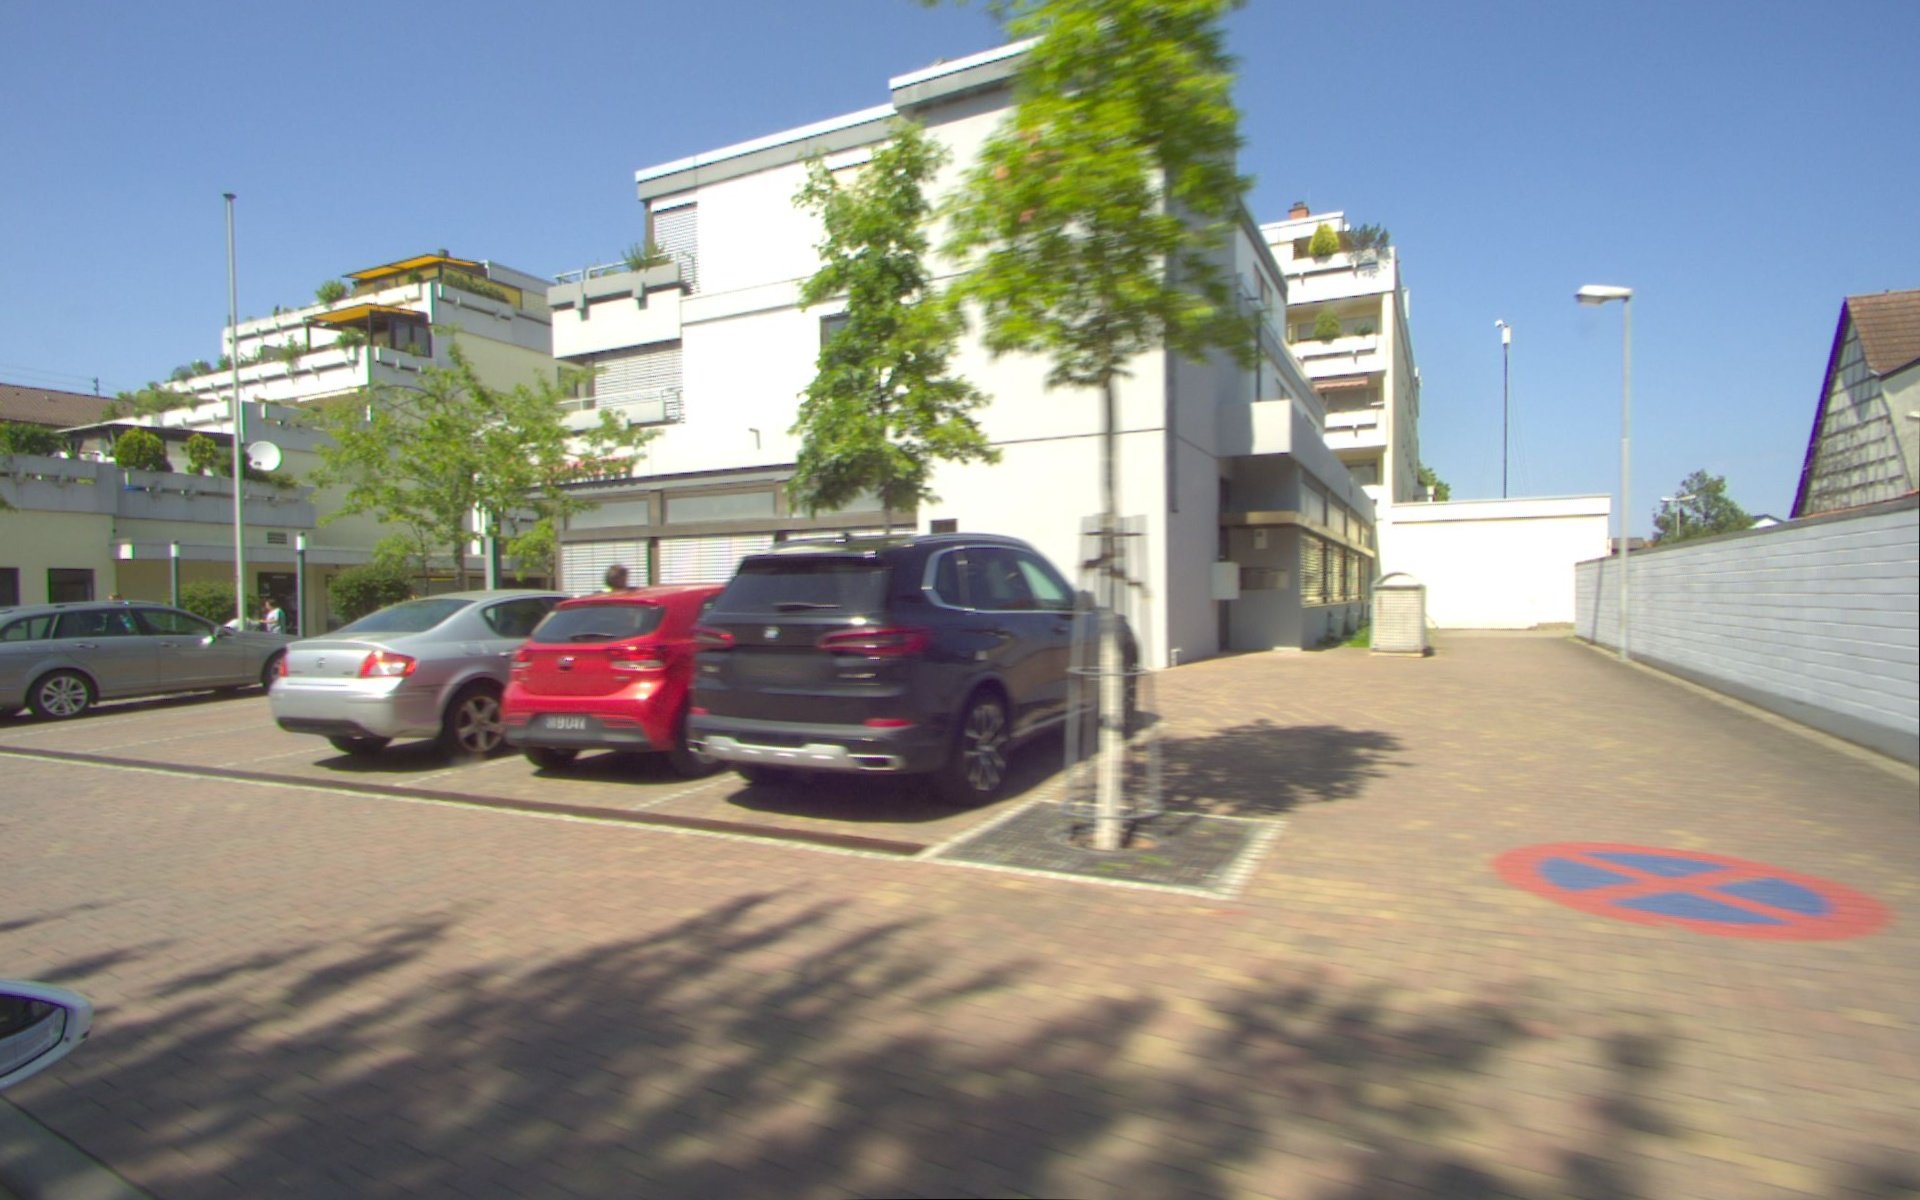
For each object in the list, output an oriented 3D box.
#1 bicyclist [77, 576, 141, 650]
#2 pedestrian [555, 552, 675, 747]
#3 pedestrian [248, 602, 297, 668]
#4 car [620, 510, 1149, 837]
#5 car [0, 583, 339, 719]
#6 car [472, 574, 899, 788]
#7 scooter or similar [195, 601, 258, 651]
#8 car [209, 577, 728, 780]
[{"bbox_3d":[-18.434,0.268,21.711,0.658,1.548,0.761,-1,3,4],"label":"bicyclist"},{"bbox_3d":[-3.221,0.436,9.389,0.687,1.741,0.748,0,3,23],"label":"pedestrian"},{"bbox_3d":[-16.509,0.825,24.055,0.697,1.541,0.795,0,1,39],"label":"pedestrian"},{"bbox_3d":[-0.180,0.314,8.024,2.114,1.796,4.624,0,3,27],"label":"car"},{"bbox_3d":[-11.594,0.600,14.049,1.885,1.533,4.574,-1,2,24],"label":"car"},{"bbox_3d":[-2.179,0.526,9.011,1.716,1.472,3.728,0,2,24],"label":"car"},{"bbox_3d":[-17.091,0.586,23.341,0.620,1.121,1.035,0,1,39],"label":"scooter or similar"},{"bbox_3d":[-4.481,0.559,10.037,1.809,1.460,4.534,0,2,24],"label":"car"}]
